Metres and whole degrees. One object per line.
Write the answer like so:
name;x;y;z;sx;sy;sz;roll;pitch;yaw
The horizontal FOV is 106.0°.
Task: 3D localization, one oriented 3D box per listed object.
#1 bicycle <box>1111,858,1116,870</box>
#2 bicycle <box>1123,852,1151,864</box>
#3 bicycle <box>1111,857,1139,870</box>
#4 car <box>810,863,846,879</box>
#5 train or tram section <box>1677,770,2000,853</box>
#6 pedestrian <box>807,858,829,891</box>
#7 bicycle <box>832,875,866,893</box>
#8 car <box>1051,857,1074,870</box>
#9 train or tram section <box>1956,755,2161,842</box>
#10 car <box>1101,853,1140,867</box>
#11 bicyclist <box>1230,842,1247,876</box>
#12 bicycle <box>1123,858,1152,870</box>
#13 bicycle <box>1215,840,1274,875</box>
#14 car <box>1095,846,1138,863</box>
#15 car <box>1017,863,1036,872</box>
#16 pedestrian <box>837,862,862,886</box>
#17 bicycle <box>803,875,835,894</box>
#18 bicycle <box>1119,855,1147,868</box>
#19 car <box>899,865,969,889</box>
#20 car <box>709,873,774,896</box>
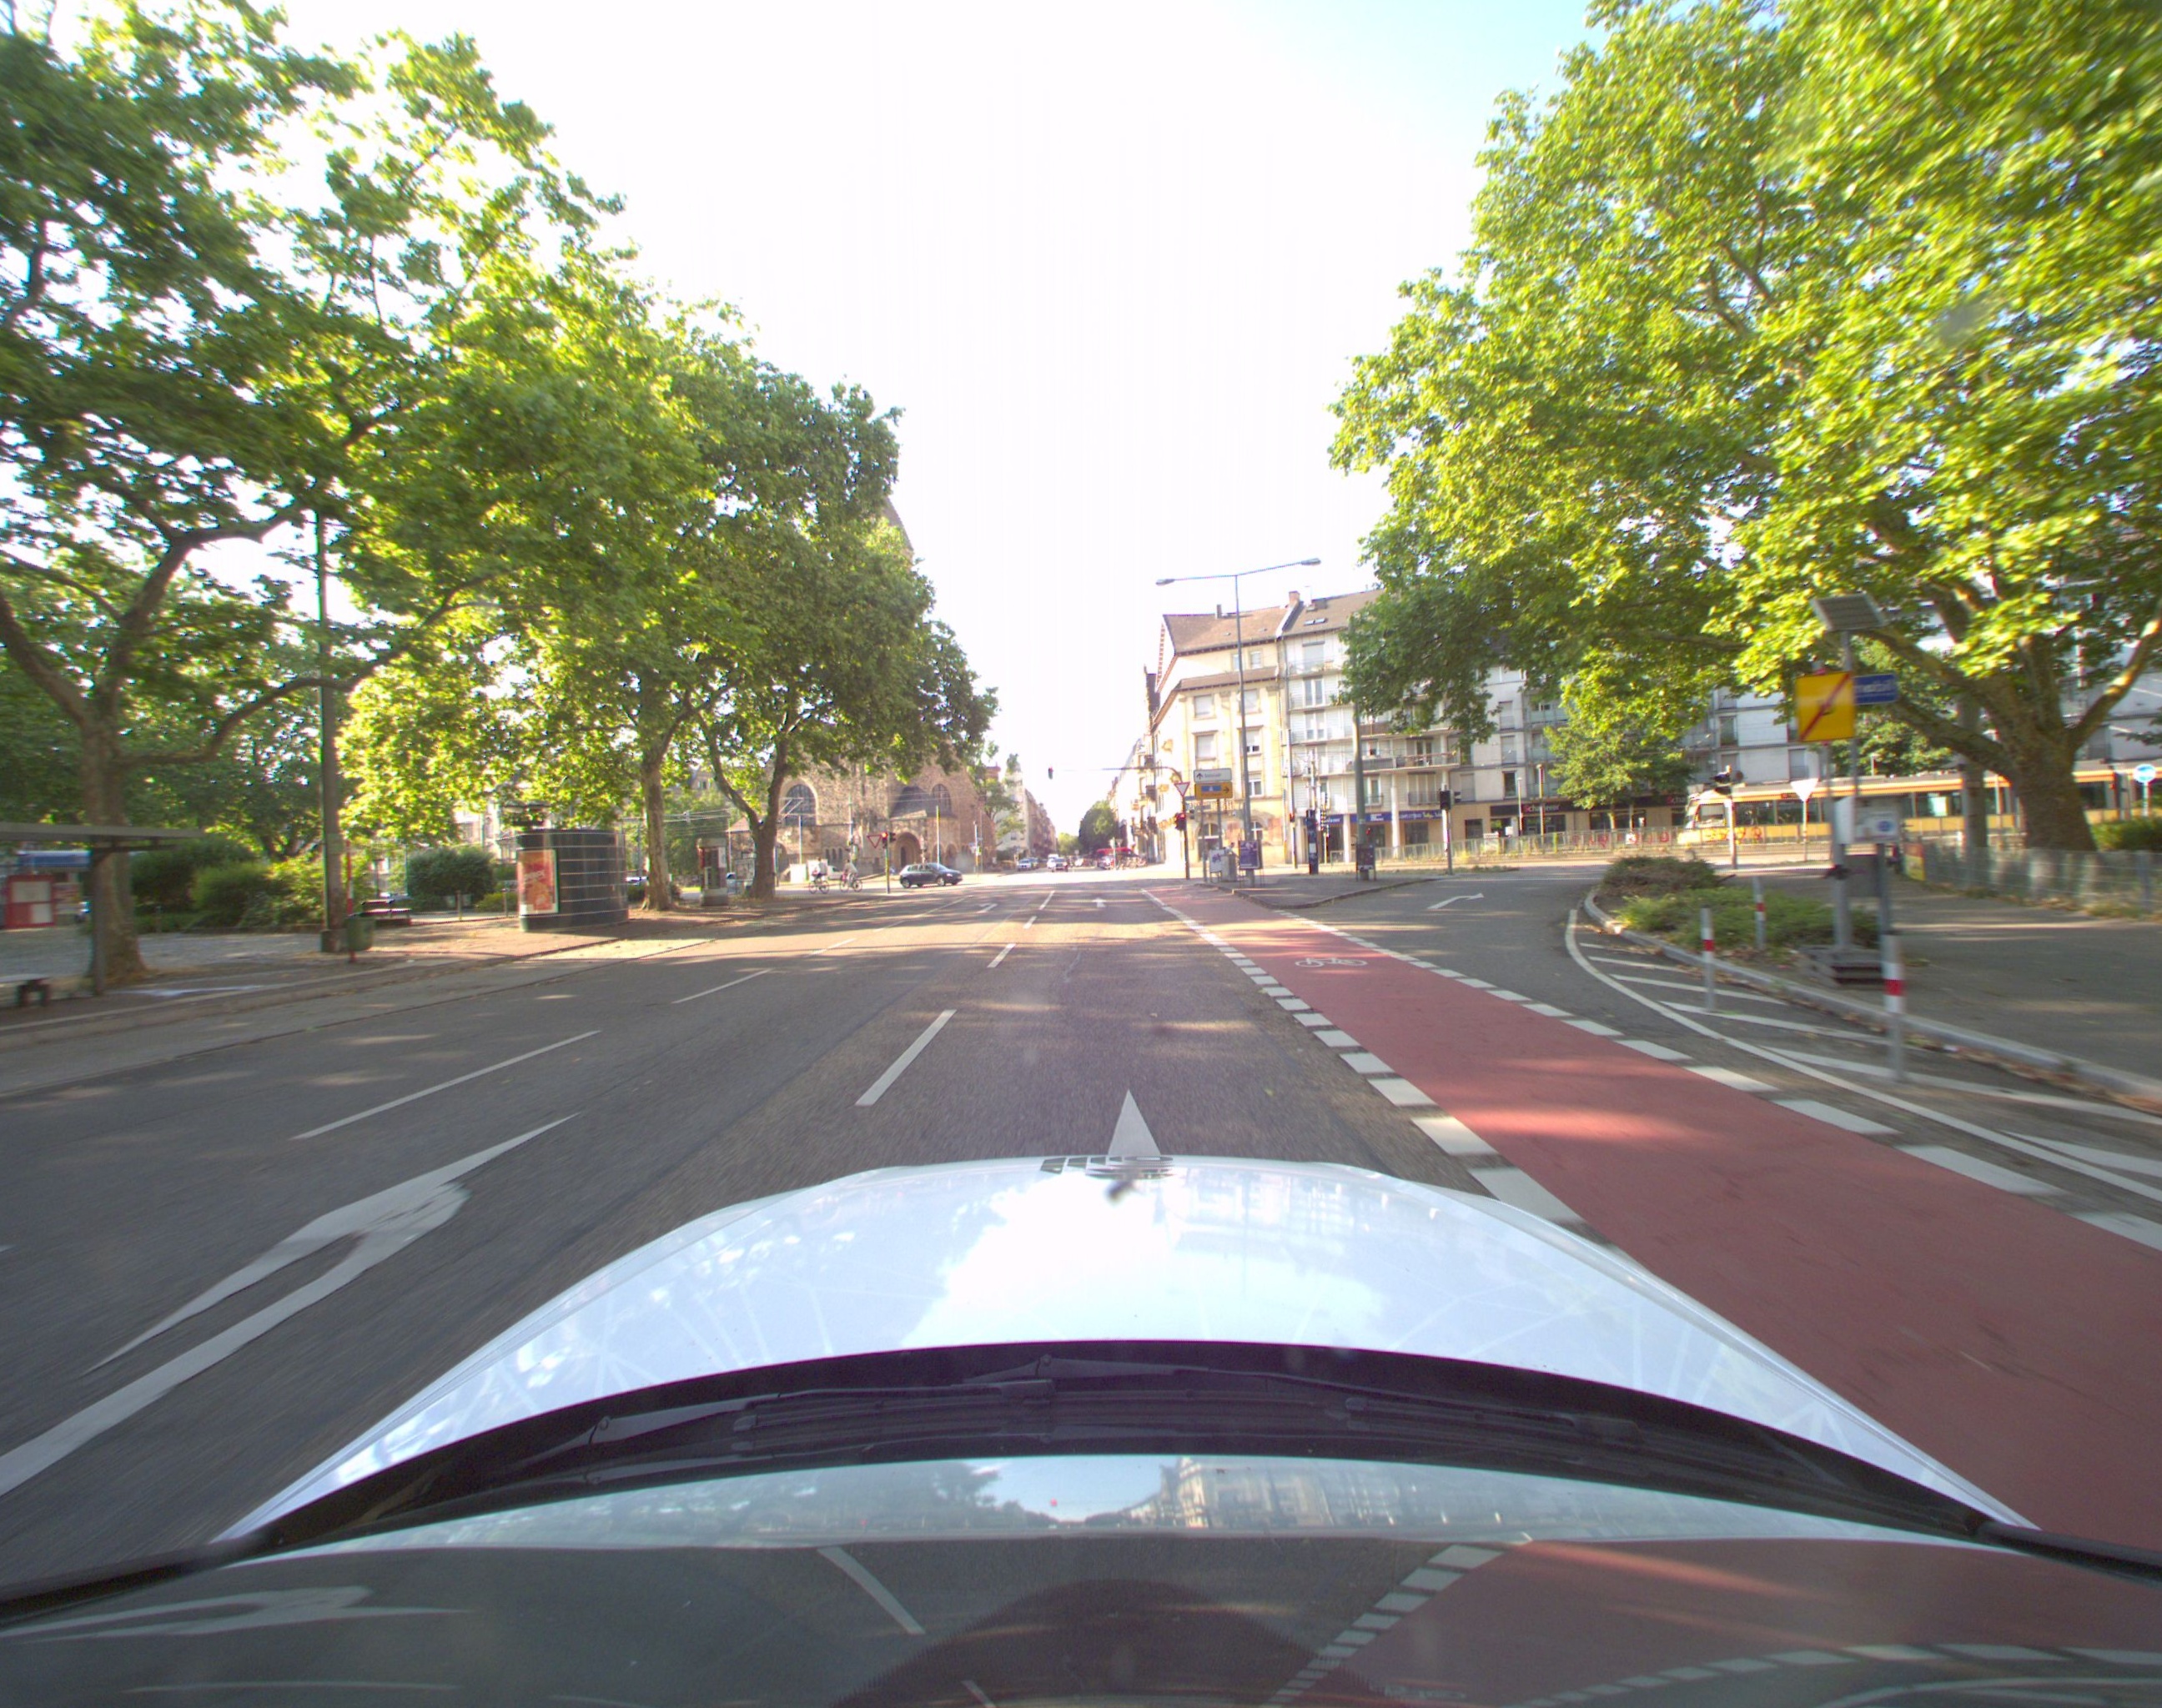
bicycle;3.279;1.015;82.841;0.506;1.203;2.093;-1;-1;2
bicycle;5.688;0.441;82.361;2.796;1.203;0.509;0;-1;-3
bicycle;4.382;0.933;80.938;2.796;1.203;0.516;0;-1;-3
car;-29.721;1.947;95.678;1.843;1.838;4.023;-1;-1;25
train or tram section;38.351;-1.986;42.103;11.682;3.640;3.437;-1;-1;26
pedestrian;-13.957;1.098;43.252;0.981;1.708;0.632;-1;-2;32
bicycle;-12.625;1.623;44.360;1.764;0.895;0.755;-2;0;30
car;-2.060;1.058;89.572;1.574;1.462;3.198;-1;-1;17
train or tram section;49.084;-2.548;37.335;11.682;3.640;3.437;-1;-1;26
car;4.736;0.727;96.901;4.446;1.538;1.856;0;-1;-32
bicyclist;7.738;0.250;39.961;0.796;1.656;0.937;-1;-1;12
bicycle;5.522;0.965;80.155;2.796;1.203;0.509;0;-1;-3
bicycle;7.988;0.191;39.811;2.823;1.656;0.833;-1;-1;12
car;4.376;0.110;100.508;5.024;2.014;2.143;0;-1;-36
car;-7.762;1.925;115.915;1.581;1.144;3.400;-1;-1;19
pedestrian;-12.619;1.106;44.323;1.038;1.278;0.797;-1;-1;30
bicycle;-13.891;1.615;43.204;1.766;0.982;0.661;-1;-1;32
bicycle;5.238;0.744;81.662;2.796;1.203;0.516;0;-1;-3
car;-8.964;1.386;49.579;3.893;1.397;1.661;-1;-1;21
car;-23.152;2.066;55.541;3.952;1.556;1.863;-1;-1;22
